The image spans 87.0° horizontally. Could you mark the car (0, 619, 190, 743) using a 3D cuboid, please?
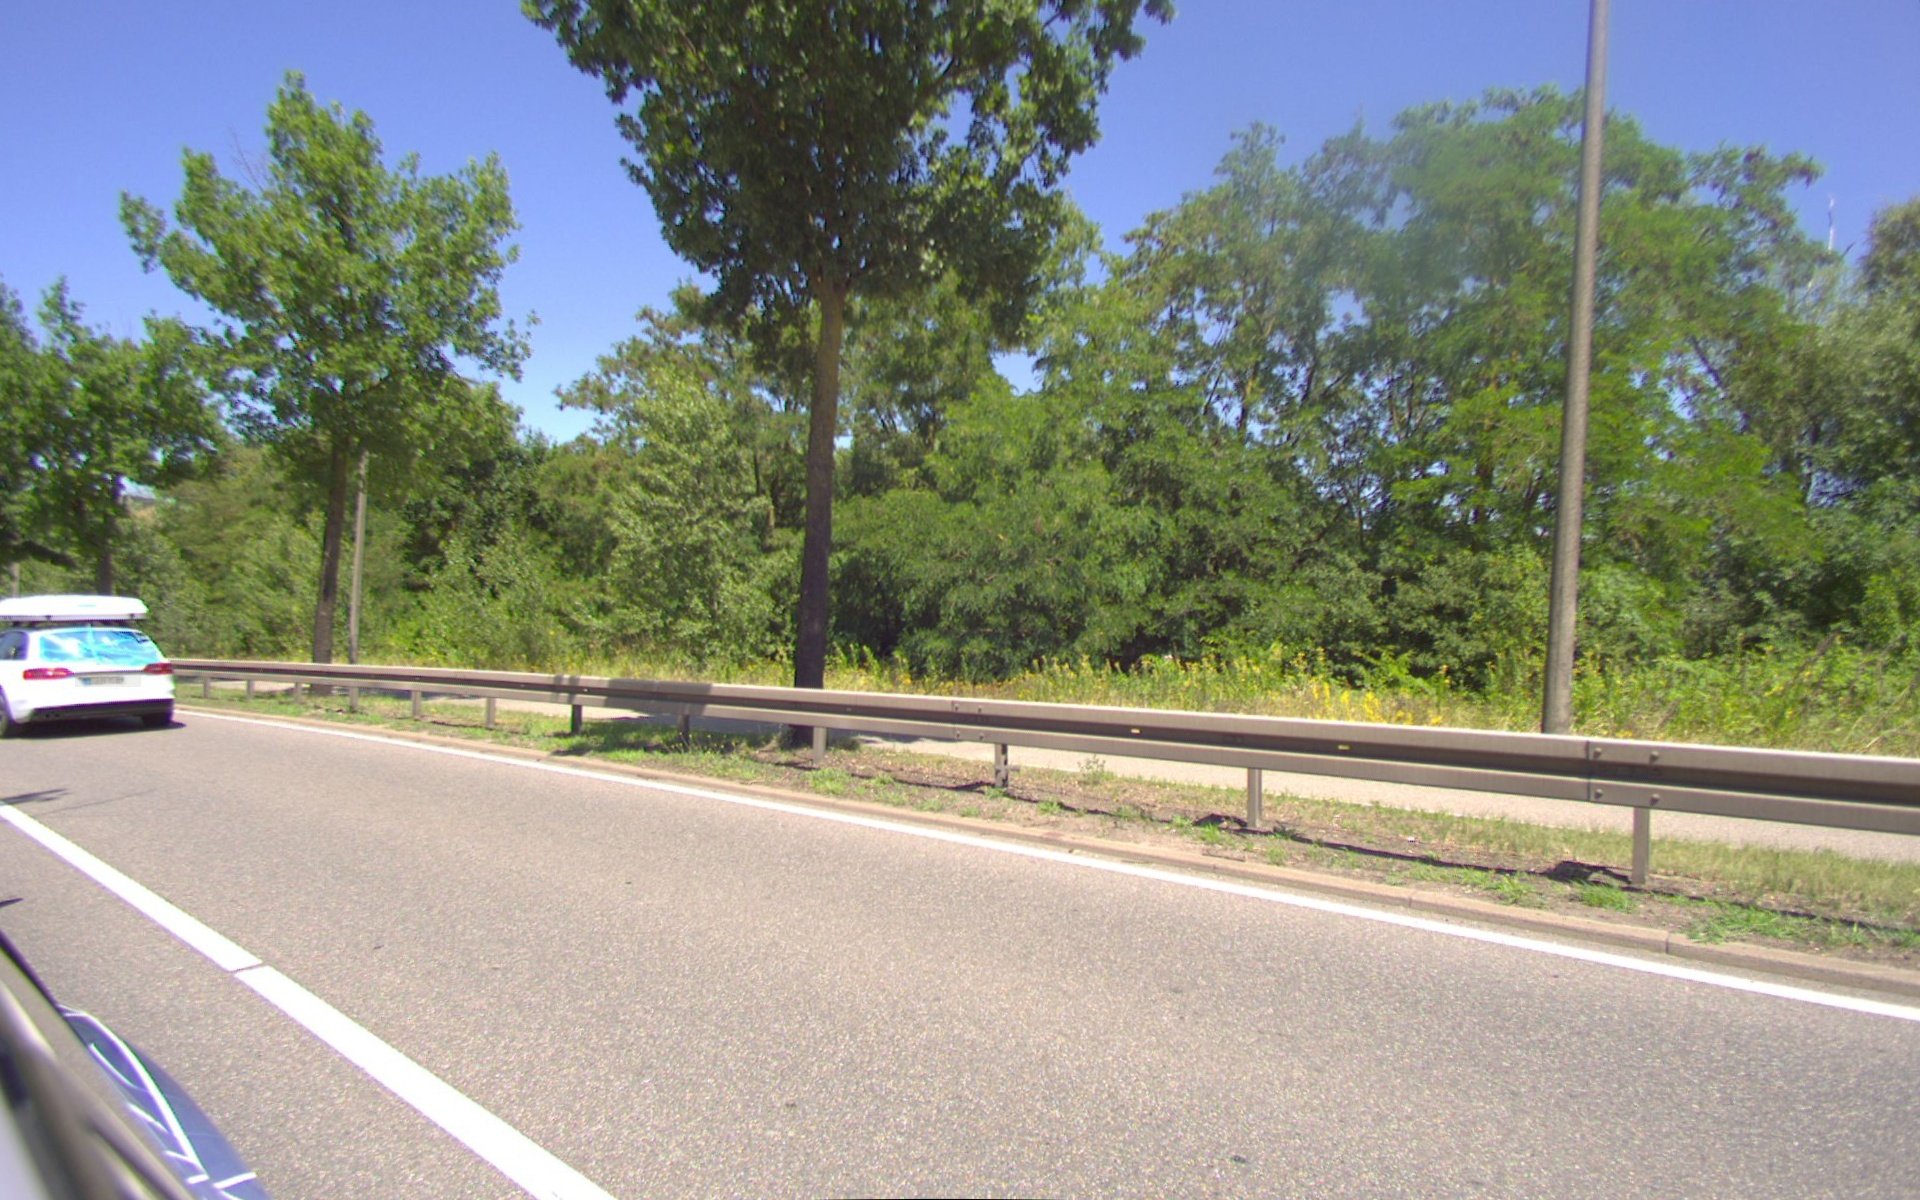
[{"bbox_3d":[-12.569,1.008,14.051,4.457,1.432,1.803,-1,0,36],"label":"car"}]
